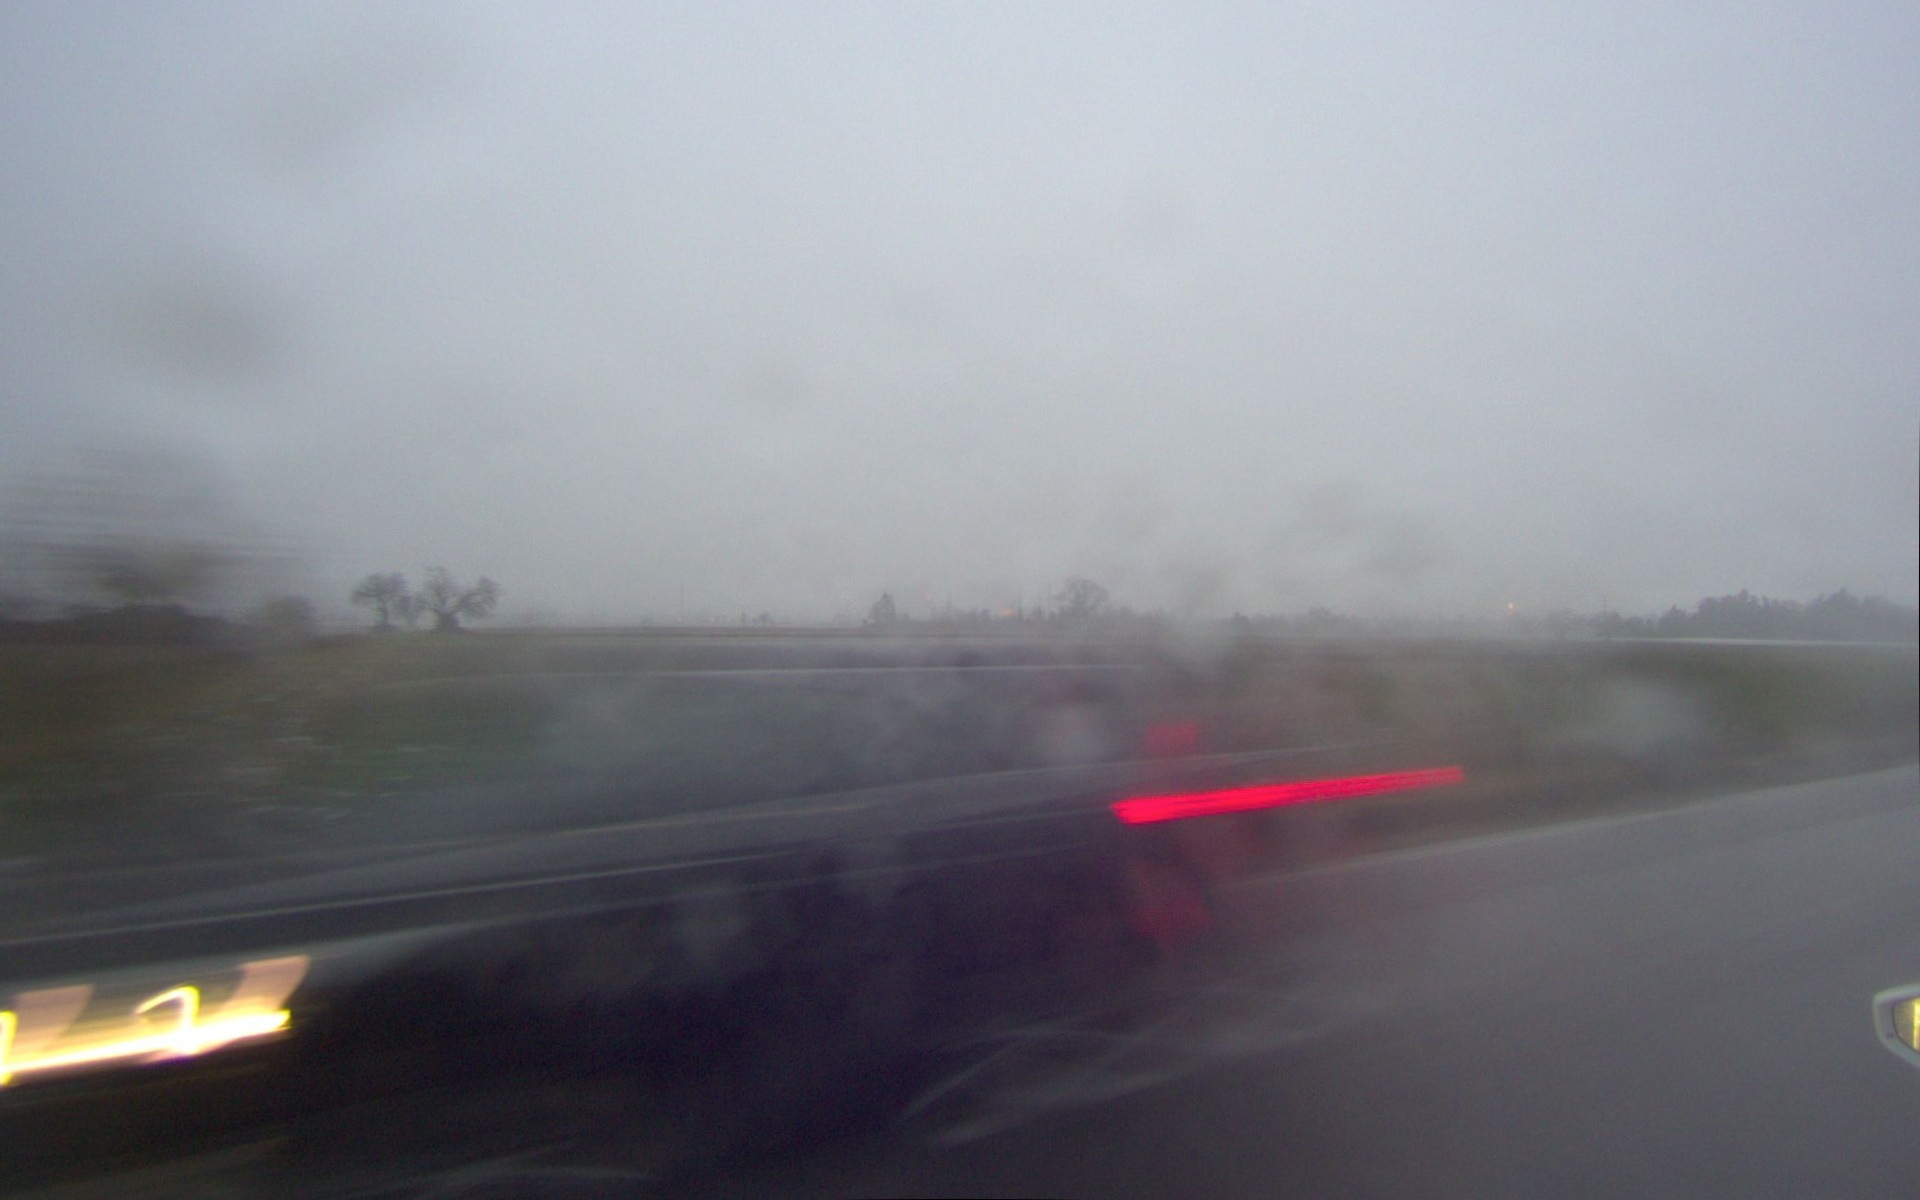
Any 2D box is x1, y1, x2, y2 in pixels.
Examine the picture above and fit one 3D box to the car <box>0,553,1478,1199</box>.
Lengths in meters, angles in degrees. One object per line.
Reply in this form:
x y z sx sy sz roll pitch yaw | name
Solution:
-0.493 0.793 3.417 4.301 1.482 1.985 2 -5 -30 | car
